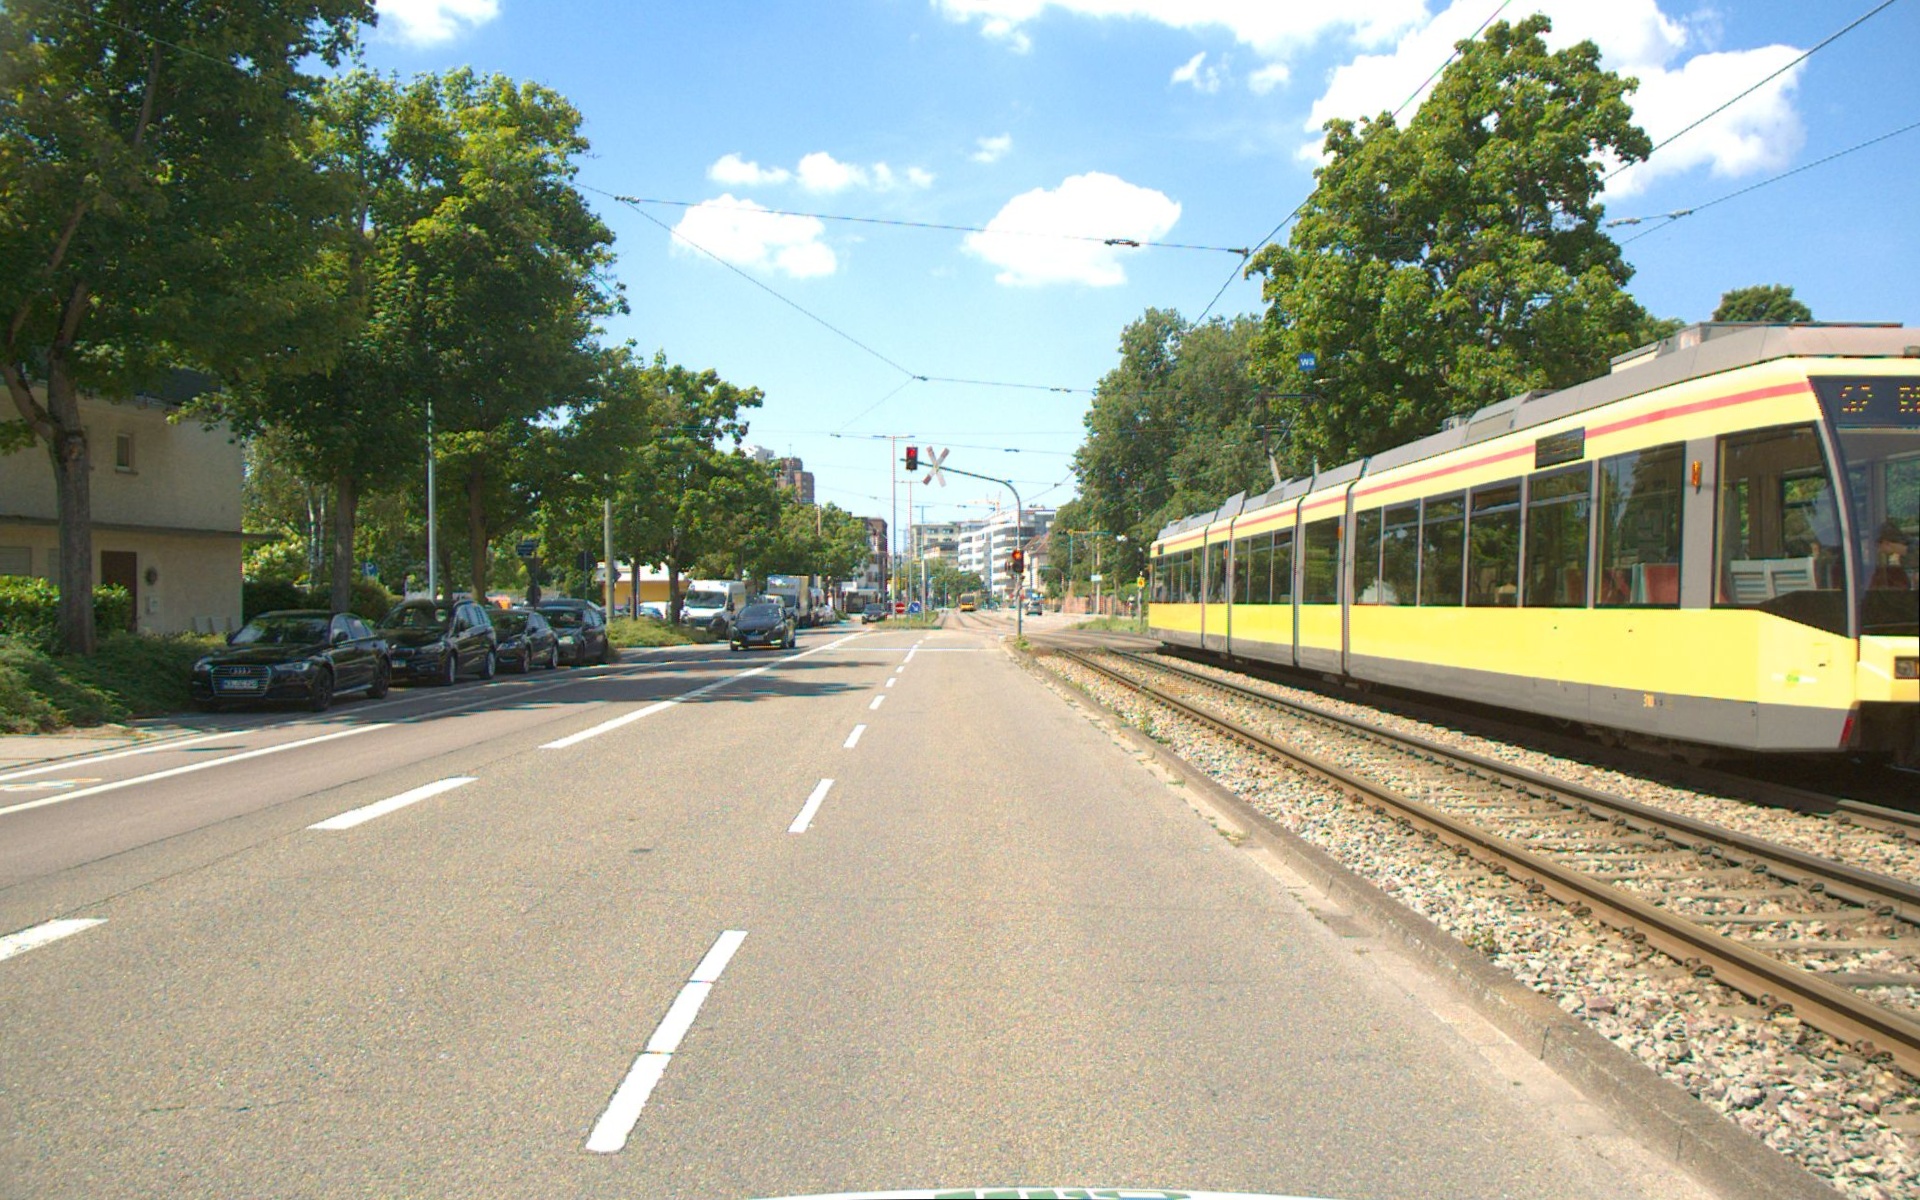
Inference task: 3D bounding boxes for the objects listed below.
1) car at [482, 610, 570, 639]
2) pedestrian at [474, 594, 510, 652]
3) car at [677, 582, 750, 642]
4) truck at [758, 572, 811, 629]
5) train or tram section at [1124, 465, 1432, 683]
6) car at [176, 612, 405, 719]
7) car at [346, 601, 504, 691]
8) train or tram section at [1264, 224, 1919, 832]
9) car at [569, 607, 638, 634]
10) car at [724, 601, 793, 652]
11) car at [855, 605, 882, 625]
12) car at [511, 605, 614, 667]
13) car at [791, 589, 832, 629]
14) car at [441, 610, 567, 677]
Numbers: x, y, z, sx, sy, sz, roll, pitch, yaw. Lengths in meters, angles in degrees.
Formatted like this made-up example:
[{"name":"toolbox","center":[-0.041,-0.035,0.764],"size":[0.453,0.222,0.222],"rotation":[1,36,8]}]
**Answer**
[{"name":"car","center":[-21.621,1.216,82.414],"size":[3.906,1.363,1.805],"rotation":[-1,0,-1]},{"name":"pedestrian","center":[-15.176,0.741,53.613],"size":[0.955,1.855,0.794],"rotation":[-1,0,-3]},{"name":"car","center":[-10.853,0.503,73.276],"size":[2.112,2.530,6.194],"rotation":[-1,0,2]},{"name":"truck","center":[-10.711,0.027,101.383],"size":[2.112,3.266,7.084],"rotation":[3,0,2]},{"name":"train or tram section","center":[6.539,-0.461,38.837],"size":[2.884,3.756,20.278],"rotation":[1,0,-1]},{"name":"car","center":[-10.269,0.943,25.779],"size":[1.739,1.481,4.802],"rotation":[0,0,-2]},{"name":"car","center":[-10.480,0.849,32.768],"size":[1.739,1.632,4.635],"rotation":[1,0,-2]},{"name":"train or tram section","center":[6.765,-0.448,19.440],"size":[2.883,3.756,18.387],"rotation":[1,0,0]},{"name":"car","center":[-22.071,1.269,102.504],"size":[3.906,1.634,1.805],"rotation":[-1,0,-1]},{"name":"car","center":[-6.304,0.816,52.090],"size":[1.739,1.485,4.193],"rotation":[-2,0,-2]},{"name":"car","center":[-6.663,1.086,121.206],"size":[1.643,1.422,4.006],"rotation":[-3,0,0]},{"name":"car","center":[-10.405,0.917,43.540],"size":[1.738,1.506,4.047],"rotation":[1,0,0]},{"name":"car","center":[-10.451,0.625,116.723],"size":[2.112,2.685,5.613],"rotation":[-1,0,2]},{"name":"car","center":[-10.532,0.963,38.526],"size":[1.739,1.397,4.695],"rotation":[2,0,-2]}]
